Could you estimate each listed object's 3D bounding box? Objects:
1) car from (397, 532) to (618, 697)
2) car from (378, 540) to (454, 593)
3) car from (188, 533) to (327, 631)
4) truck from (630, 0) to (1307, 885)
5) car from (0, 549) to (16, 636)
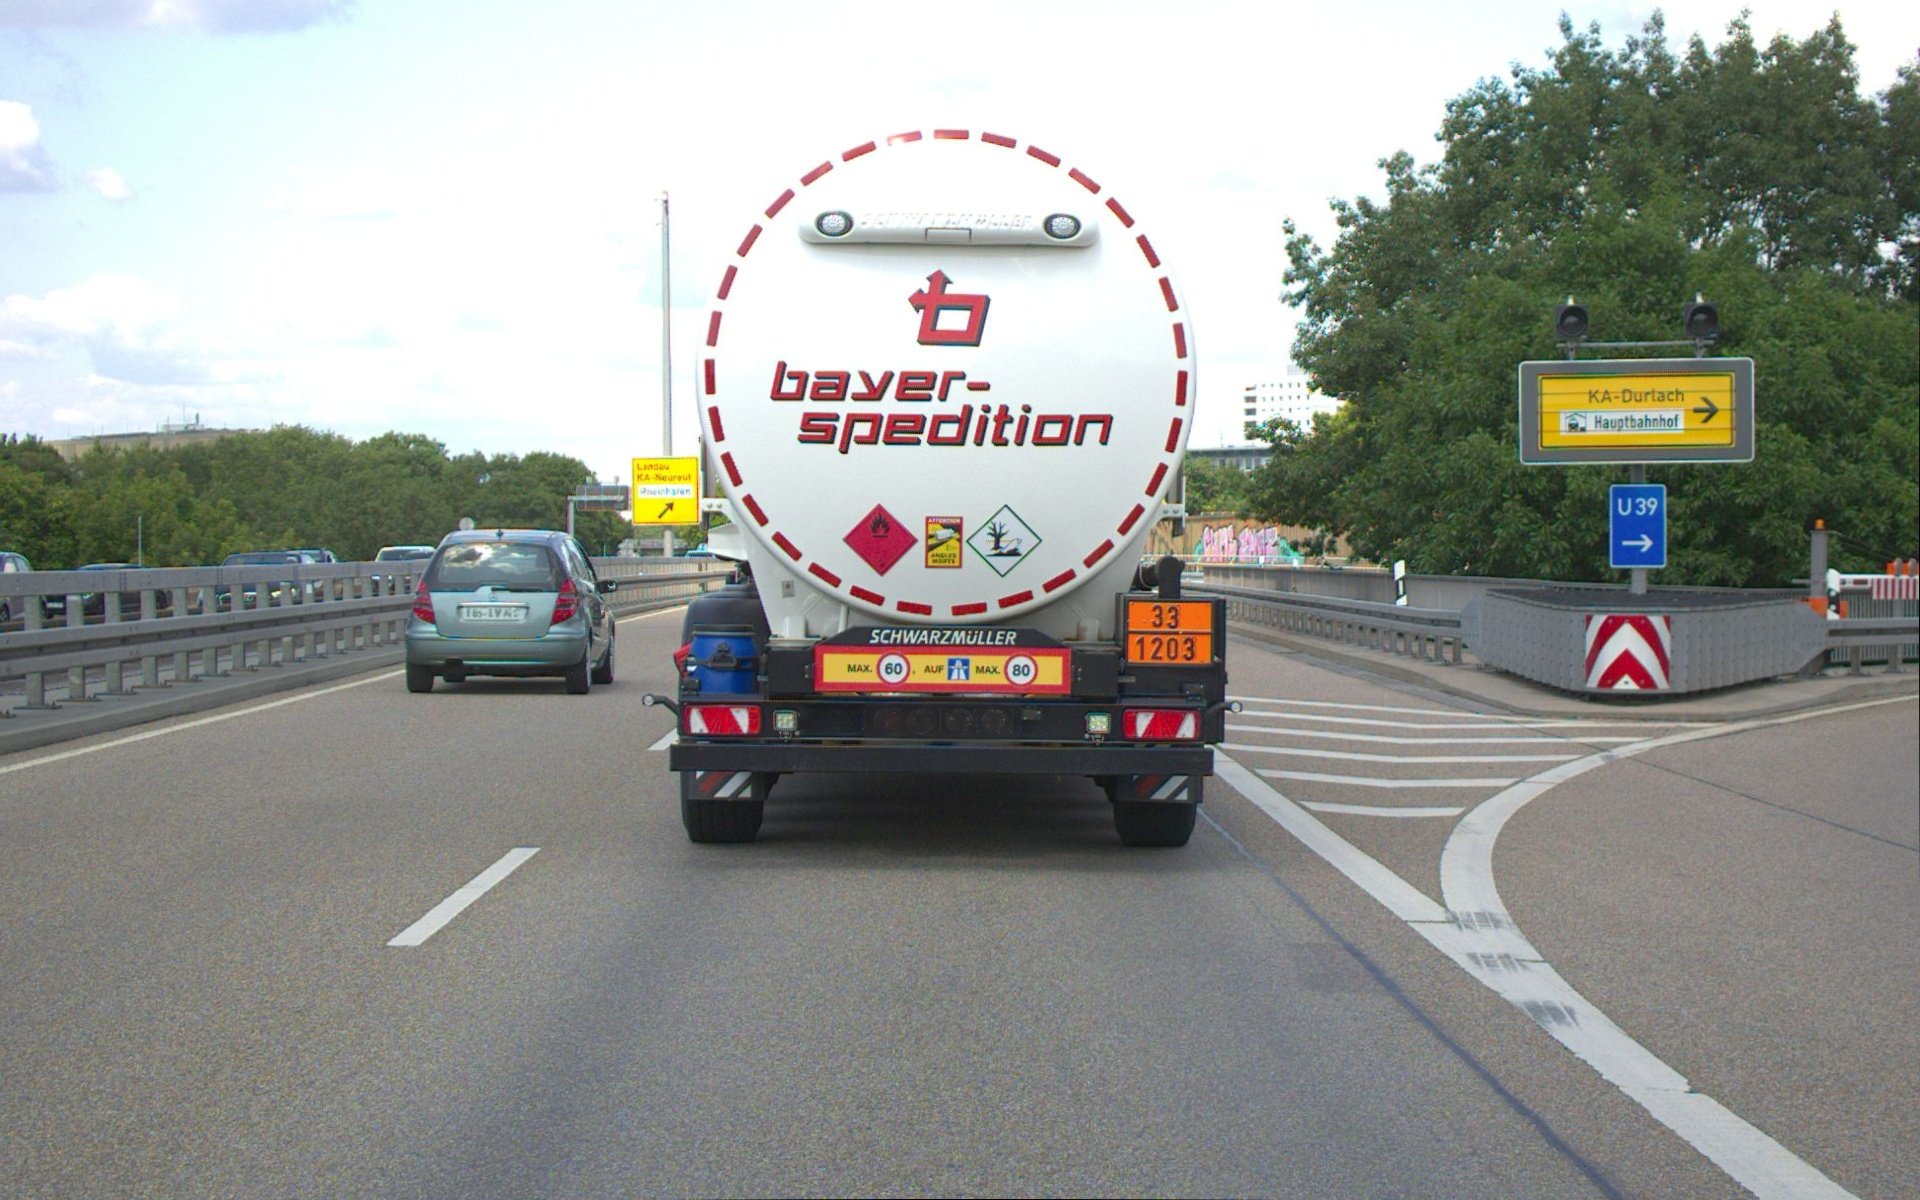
[{"bbox_3d":[-4.459,0.098,34.373,1.747,1.526,4.000,0,1,-1],"label":"car"},{"bbox_3d":[-17.480,-1.099,110.615,1.890,1.634,4.513,1,1,-3],"label":"car"},{"bbox_3d":[-11.842,-0.327,58.141,1.675,1.566,4.061,1,1,-3],"label":"car"},{"bbox_3d":[-0.049,-1.016,19.118,2.895,4.354,8.030,1,1,-1],"label":"truck"},{"bbox_3d":[-17.112,-0.090,57.764,1.597,1.469,3.632,-2,1,-3],"label":"car"}]
